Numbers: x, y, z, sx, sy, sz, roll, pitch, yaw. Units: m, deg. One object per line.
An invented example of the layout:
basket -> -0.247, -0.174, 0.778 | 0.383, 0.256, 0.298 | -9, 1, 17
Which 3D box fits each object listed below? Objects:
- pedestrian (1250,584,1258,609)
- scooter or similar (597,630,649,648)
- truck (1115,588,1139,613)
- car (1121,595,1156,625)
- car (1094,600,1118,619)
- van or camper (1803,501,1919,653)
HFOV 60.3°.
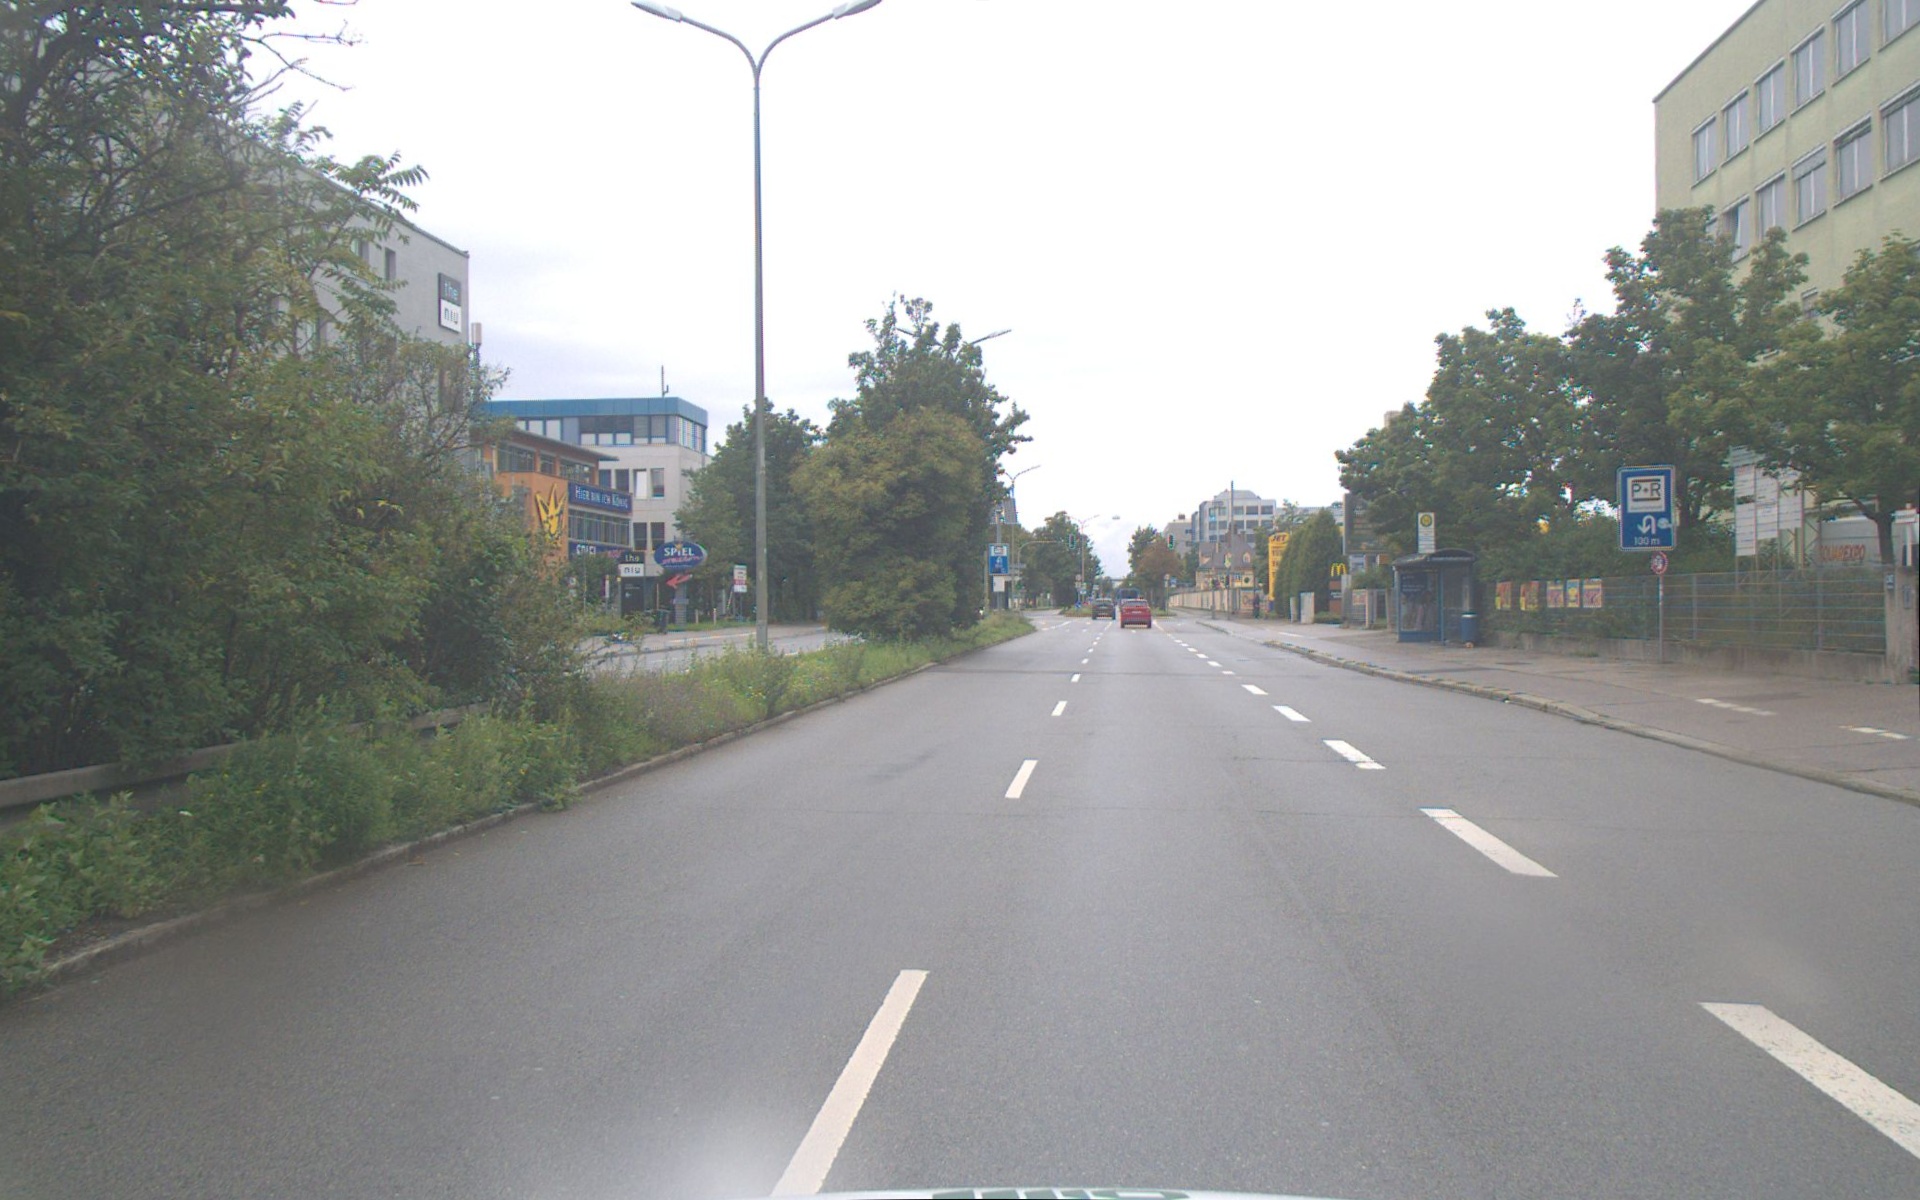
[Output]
pedestrian -> 19.810, -0.238, 111.426 | 0.473, 1.664, 0.591 | -1, 0, 10
scooter or similar -> -13.125, 1.527, 64.548 | 1.437, 0.595, 2.321 | -1, -3, 3
truck -> 22.548, 0.067, 224.064 | 2.907, 3.343, 7.919 | -1, 0, 4
car -> 10.237, 0.576, 94.994 | 1.823, 1.646, 4.001 | 0, -1, 3
car -> 11.698, 0.773, 132.523 | 1.765, 1.458, 4.002 | -1, 0, 4
van or camper -> 17.443, -0.403, 29.688 | 2.079, 2.540, 7.395 | -1, 0, 11
